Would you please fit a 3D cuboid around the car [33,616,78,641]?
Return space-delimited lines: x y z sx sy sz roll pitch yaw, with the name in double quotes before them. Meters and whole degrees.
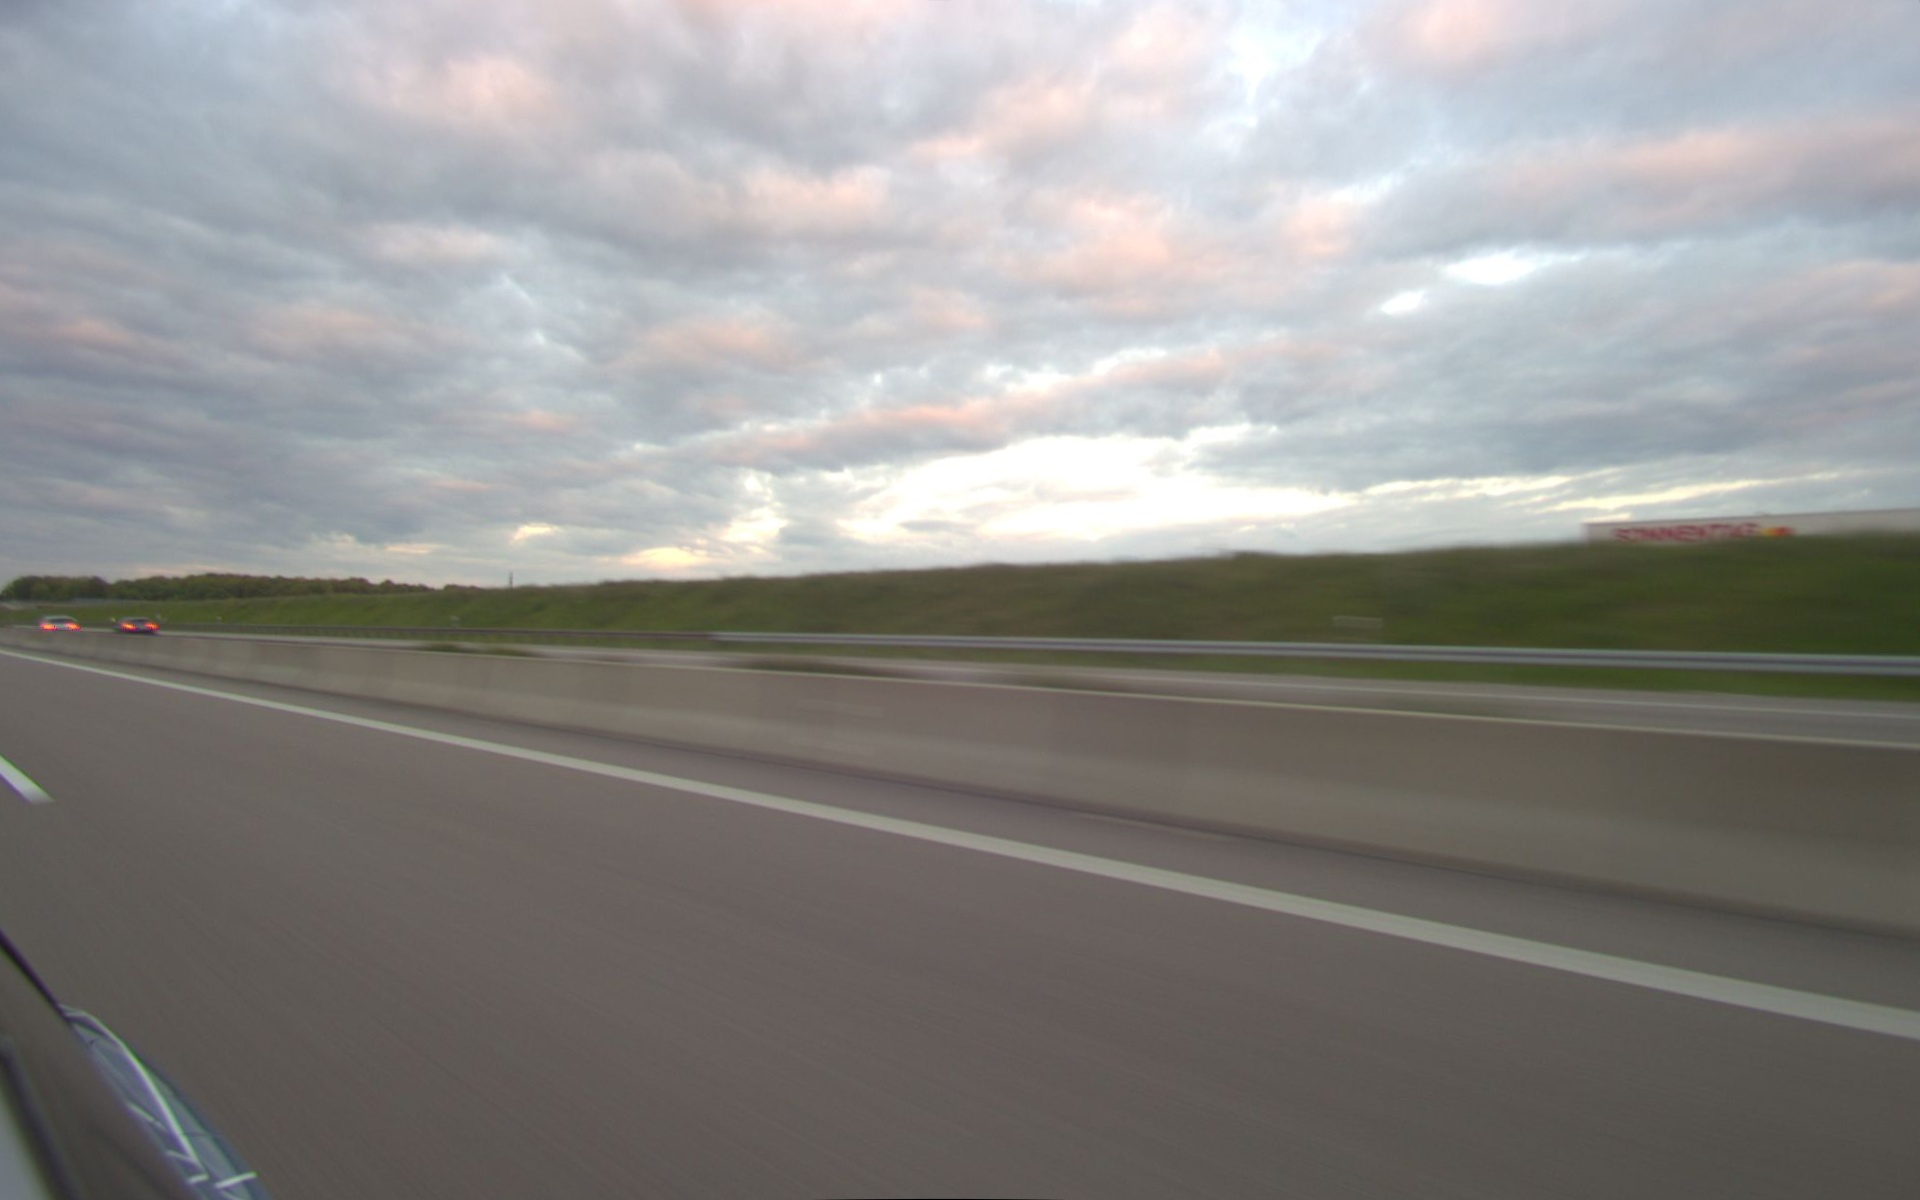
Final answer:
"car" -60.753 1.901 67.968 4.641 1.610 1.731 -1 0 42

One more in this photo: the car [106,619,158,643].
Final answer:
"car" -57.862 2.158 70.674 4.569 1.599 1.982 -1 -2 40
